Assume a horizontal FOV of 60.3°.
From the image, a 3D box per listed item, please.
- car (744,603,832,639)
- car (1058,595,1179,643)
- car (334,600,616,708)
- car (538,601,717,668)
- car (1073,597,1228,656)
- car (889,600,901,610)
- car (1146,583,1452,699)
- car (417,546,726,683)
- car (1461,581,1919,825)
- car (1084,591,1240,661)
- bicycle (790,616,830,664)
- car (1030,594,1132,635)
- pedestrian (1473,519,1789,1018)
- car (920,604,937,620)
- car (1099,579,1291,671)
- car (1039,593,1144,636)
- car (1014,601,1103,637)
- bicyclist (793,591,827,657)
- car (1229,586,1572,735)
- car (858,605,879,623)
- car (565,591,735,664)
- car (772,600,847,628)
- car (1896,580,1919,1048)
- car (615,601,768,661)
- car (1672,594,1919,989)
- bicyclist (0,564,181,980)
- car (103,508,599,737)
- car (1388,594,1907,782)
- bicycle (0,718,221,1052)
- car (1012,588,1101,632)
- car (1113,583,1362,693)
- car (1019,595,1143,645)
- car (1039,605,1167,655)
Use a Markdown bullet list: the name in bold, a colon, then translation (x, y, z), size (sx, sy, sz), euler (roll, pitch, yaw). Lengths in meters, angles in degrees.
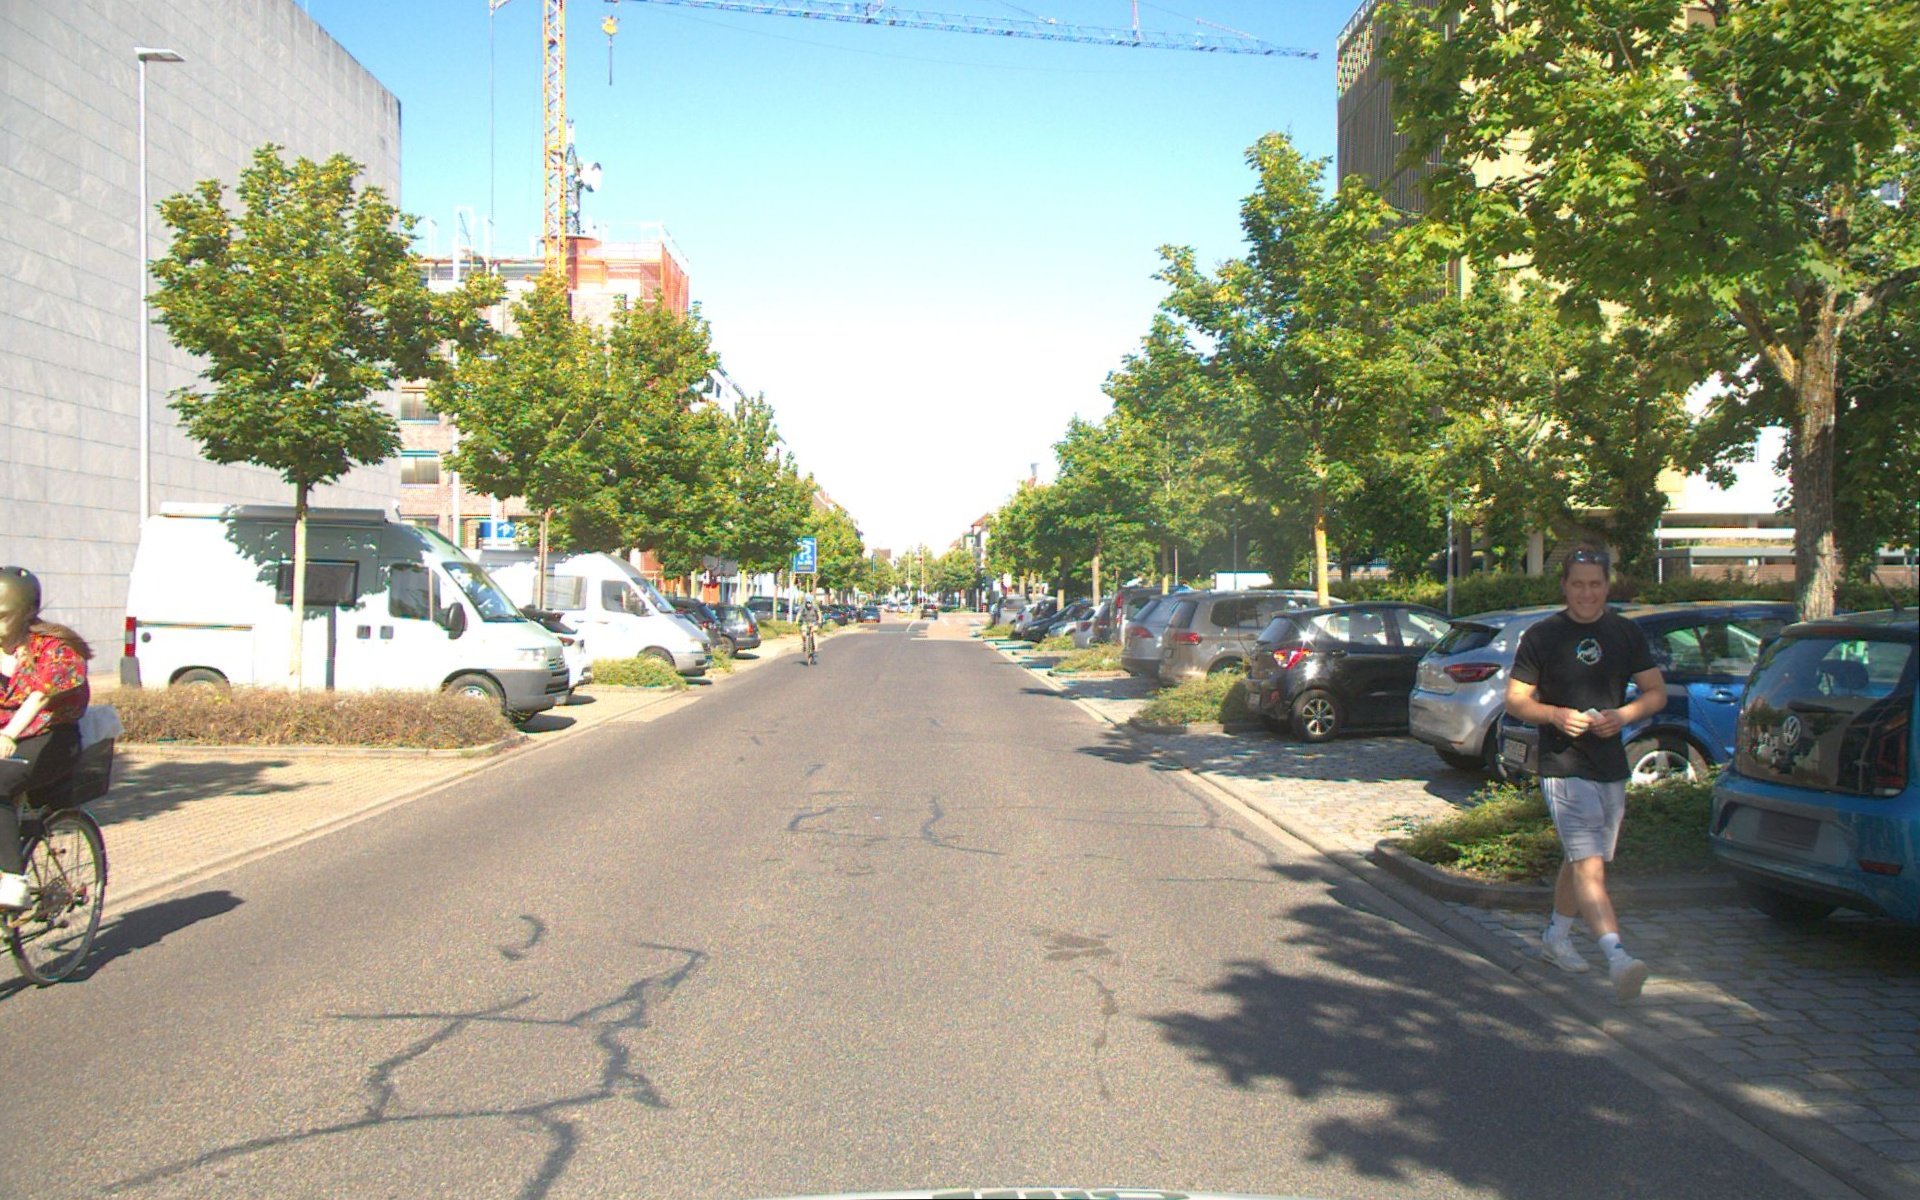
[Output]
- **car**: translation (-8.409, 1.011, 81.001), size (4.176, 1.694, 1.599), euler (-1, 1, -2)
- **car**: translation (5.214, 0.611, 54.809), size (3.785, 1.531, 1.651), euler (-1, 0, -4)
- **car**: translation (-7.383, 0.802, 25.444), size (3.751, 1.497, 1.848), euler (2, 0, 1)
- **car**: translation (-7.919, 0.810, 39.643), size (3.905, 1.544, 1.855), euler (0, 0, -1)
- **car**: translation (5.138, 0.710, 44.929), size (3.978, 1.450, 1.741), euler (-2, -1, 0)
- **car**: translation (-10.053, 0.825, 257.008), size (1.775, 1.500, 4.110), euler (-1, 1, 0)
- **car**: translation (5.147, 0.602, 25.465), size (4.236, 1.636, 1.910), euler (-1, 0, -5)
- **car**: translation (-7.424, 0.263, 31.977), size (5.437, 2.452, 1.988), euler (1, 0, 0)
- **car**: translation (5.701, 0.652, 11.580), size (3.815, 1.524, 1.842), euler (-1, 0, 0)
- **car**: translation (4.891, 0.614, 40.327), size (3.534, 1.576, 1.706), euler (-1, 1, -3)
- **bicycle**: translation (-3.762, 0.990, 41.579), size (0.683, 1.130, 2.080), euler (-2, 0, 3)
- **car**: translation (4.842, 0.578, 66.563), size (3.906, 1.610, 2.031), euler (-1, -1, -1)
- **pedestrian**: translation (2.644, 0.617, 6.655), size (0.704, 1.802, 1.168), euler (-2, -1, -2)
- **car**: translation (-3.325, 1.270, 175.210), size (1.775, 1.500, 4.110), euler (-1, 1, 0)
- **car**: translation (5.303, 0.541, 37.718), size (4.036, 1.961, 1.977), euler (-1, 1, -3)
- **car**: translation (5.050, 0.567, 63.832), size (3.906, 1.565, 1.861), euler (-1, -1, -1)
- **car**: translation (4.222, 0.803, 71.205), size (3.690, 1.485, 1.817), euler (-1, 0, -2)
- **bicyclist**: translation (-3.769, 0.596, 41.634), size (0.669, 1.608, 1.061), euler (-2, 0, 3)
- **car**: translation (4.961, 0.669, 18.918), size (3.384, 1.515, 1.746), euler (-2, -1, -3)
- **car**: translation (-8.177, 1.285, 148.435), size (1.775, 1.500, 4.109), euler (-1, 1, -2)
- **car**: translation (-7.819, 0.685, 41.989), size (3.904, 1.693, 1.828), euler (1, 0, 2)
- **car**: translation (-8.691, 0.817, 95.804), size (4.246, 1.500, 1.816), euler (-1, 1, -5)
- **car**: translation (5.246, 0.666, 4.809), size (4.102, 1.546, 1.735), euler (-1, 0, -3)
- **car**: translation (-7.505, 0.867, 46.531), size (4.049, 1.518, 1.868), euler (1, 1, -5)
- **car**: translation (5.413, 0.726, 7.354), size (3.821, 1.493, 1.620), euler (-1, 1, -3)
- **bicyclist**: translation (-3.667, 0.615, 6.372), size (0.742, 1.456, 1.132), euler (-2, 0, 0)
- **car**: translation (-7.219, 0.259, 20.062), size (5.141, 2.461, 2.123), euler (2, 0, 0)
- **car**: translation (5.725, 0.698, 14.116), size (3.656, 1.441, 1.842), euler (-1, 0, 0)
- **bicycle**: translation (-3.649, 1.043, 6.350), size (0.742, 1.020, 1.872), euler (-2, 0, 0)
- **car**: translation (4.373, 0.449, 75.320), size (3.906, 1.912, 1.682), euler (-1, 1, -1)
- **car**: translation (4.632, 0.606, 27.956), size (3.821, 1.725, 1.939), euler (-1, 1, -3)
- **car**: translation (4.137, 0.666, 56.965), size (4.061, 1.607, 1.740), euler (-1, 0, -3)
- **car**: translation (4.462, 0.930, 51.957), size (3.822, 1.512, 1.742), euler (-1, 0, -2)
